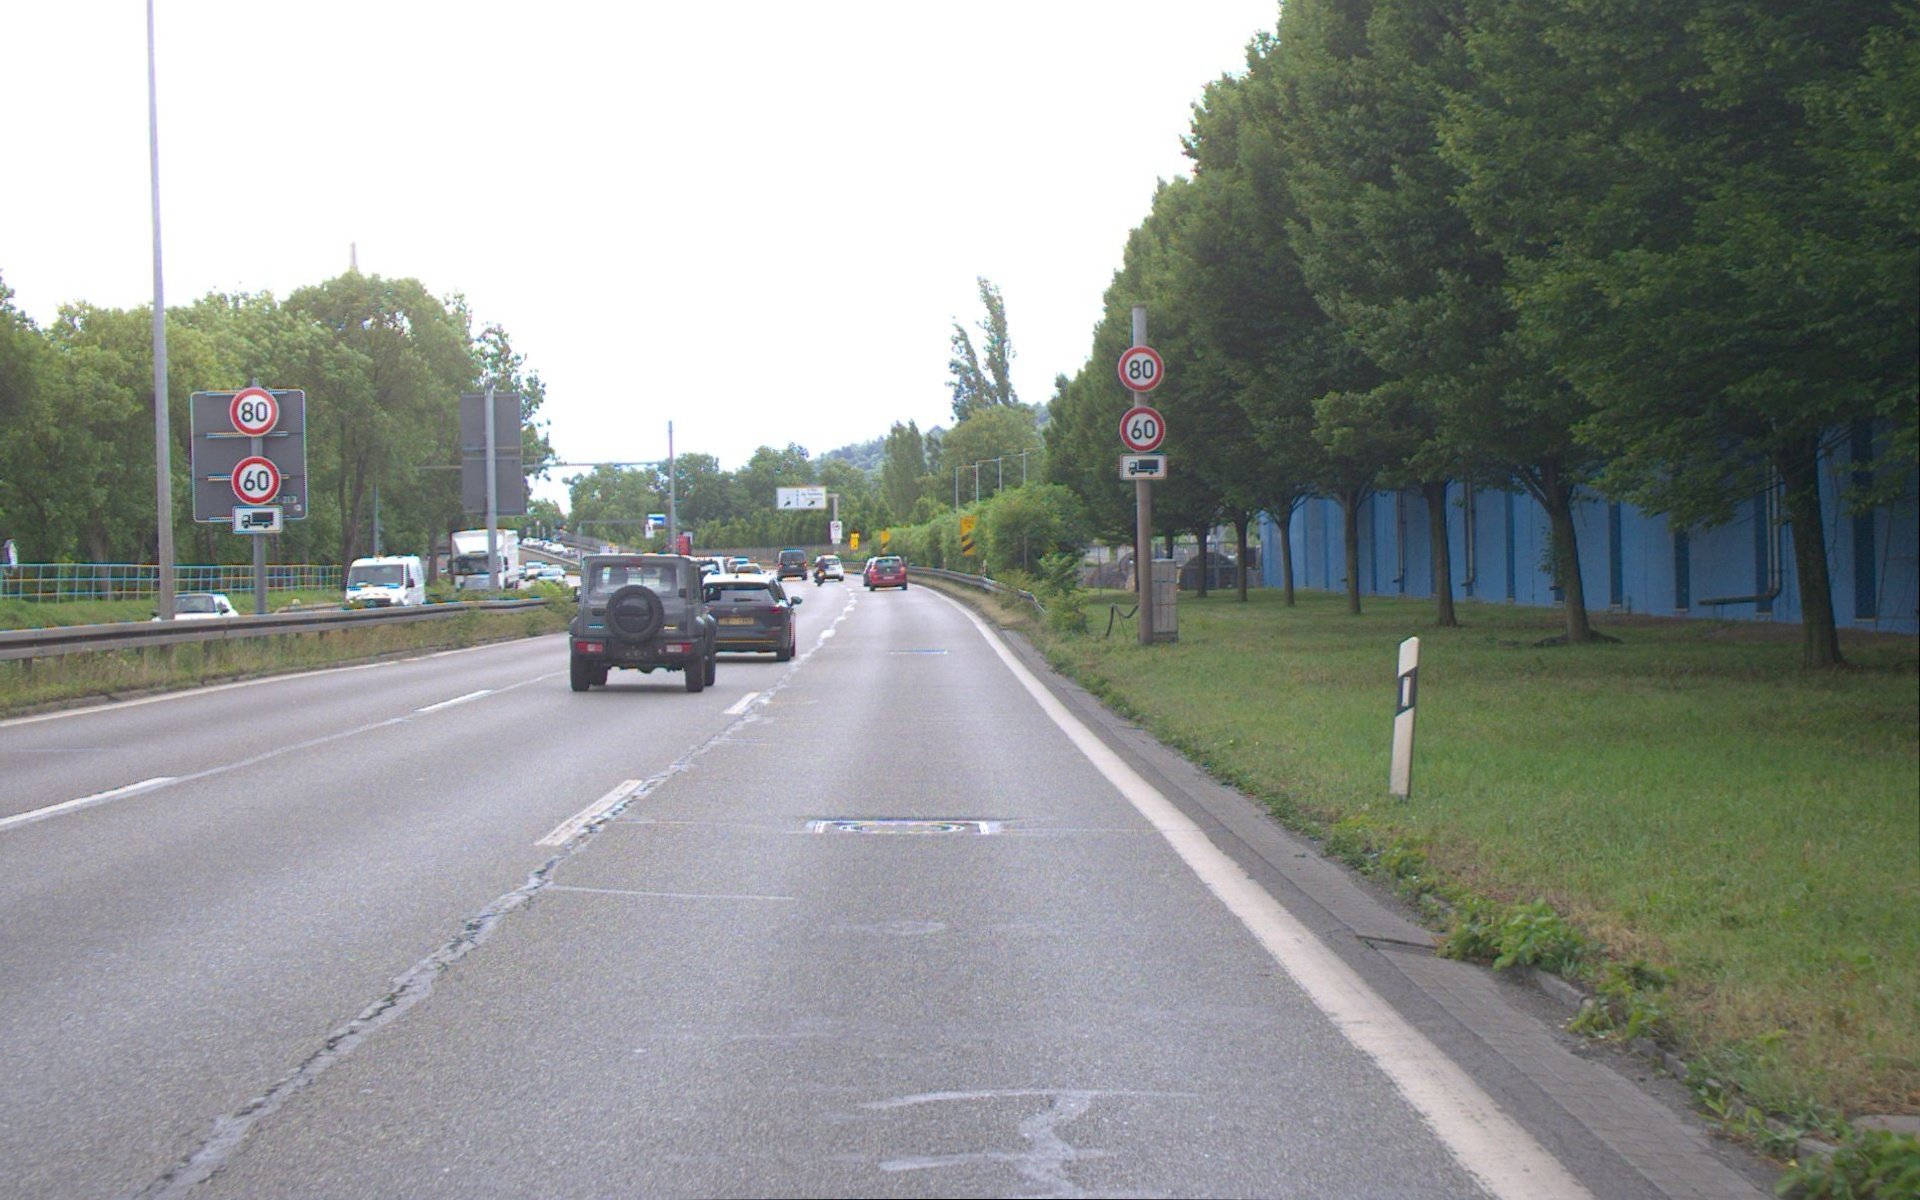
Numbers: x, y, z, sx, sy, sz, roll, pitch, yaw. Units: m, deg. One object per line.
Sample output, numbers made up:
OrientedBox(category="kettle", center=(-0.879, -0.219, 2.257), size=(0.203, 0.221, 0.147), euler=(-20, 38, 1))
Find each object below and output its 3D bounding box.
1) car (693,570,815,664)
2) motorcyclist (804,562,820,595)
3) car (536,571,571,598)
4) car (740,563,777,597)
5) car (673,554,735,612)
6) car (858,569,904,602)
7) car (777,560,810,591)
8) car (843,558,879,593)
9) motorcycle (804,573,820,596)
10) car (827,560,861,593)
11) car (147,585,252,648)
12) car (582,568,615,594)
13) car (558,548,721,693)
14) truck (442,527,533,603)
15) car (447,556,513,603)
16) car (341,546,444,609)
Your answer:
OrientedBox(category="car", center=(-3.384, 0.246, 57.288), size=(1.845, 1.418, 4.901), euler=(-2, 1, -2))
OrientedBox(category="motorcyclist", center=(-8.053, -1.163, 187.228), size=(0.791, 1.754, 0.923), euler=(-1, 1, -1))
OrientedBox(category="car", center=(-25.974, -1.010, 219.970), size=(1.726, 1.599, 4.042), euler=(-3, 1, -1))
OrientedBox(category="car", center=(-10.991, -1.104, 187.975), size=(1.697, 1.736, 4.393), euler=(-2, 1, 0))
OrientedBox(category="car", center=(-7.854, -0.531, 105.691), size=(1.697, 1.736, 4.000), euler=(-1, 1, -2))
OrientedBox(category="car", center=(-3.610, -0.683, 156.157), size=(1.974, 1.418, 4.901), euler=(-2, 1, -2))
OrientedBox(category="car", center=(-10.909, -1.622, 226.049), size=(2.013, 1.927, 4.901), euler=(-2, 1, -2))
OrientedBox(category="car", center=(-5.096, -1.260, 176.600), size=(1.697, 1.736, 4.393), euler=(-1, 1, 0))
OrientedBox(category="motorcycle", center=(-8.047, -0.858, 187.307), size=(0.791, 1.215, 2.330), euler=(-1, 1, -1))
OrientedBox(category="car", center=(-7.108, -1.458, 210.495), size=(2.013, 1.927, 4.901), euler=(-2, 1, -2))
OrientedBox(category="car", center=(-18.340, 0.380, 83.038), size=(1.659, 1.393, 3.989), euler=(-1, 1, -1))
OrientedBox(category="car", center=(-24.581, -1.310, 233.878), size=(1.697, 1.599, 4.538), euler=(-3, 1, -1))
OrientedBox(category="car", center=(-3.993, 0.215, 43.306), size=(1.697, 1.680, 4.000), euler=(1, 1, -1))
OrientedBox(category="truck", center=(-23.211, -1.729, 169.296), size=(2.889, 3.566, 9.587), euler=(-2, 0, 1))
OrientedBox(category="car", center=(-18.570, -0.807, 133.218), size=(1.878, 1.719, 4.146), euler=(-1, 1, 1))
OrientedBox(category="car", center=(-18.244, -0.733, 110.772), size=(2.226, 1.941, 5.474), euler=(-1, 1, 1))
